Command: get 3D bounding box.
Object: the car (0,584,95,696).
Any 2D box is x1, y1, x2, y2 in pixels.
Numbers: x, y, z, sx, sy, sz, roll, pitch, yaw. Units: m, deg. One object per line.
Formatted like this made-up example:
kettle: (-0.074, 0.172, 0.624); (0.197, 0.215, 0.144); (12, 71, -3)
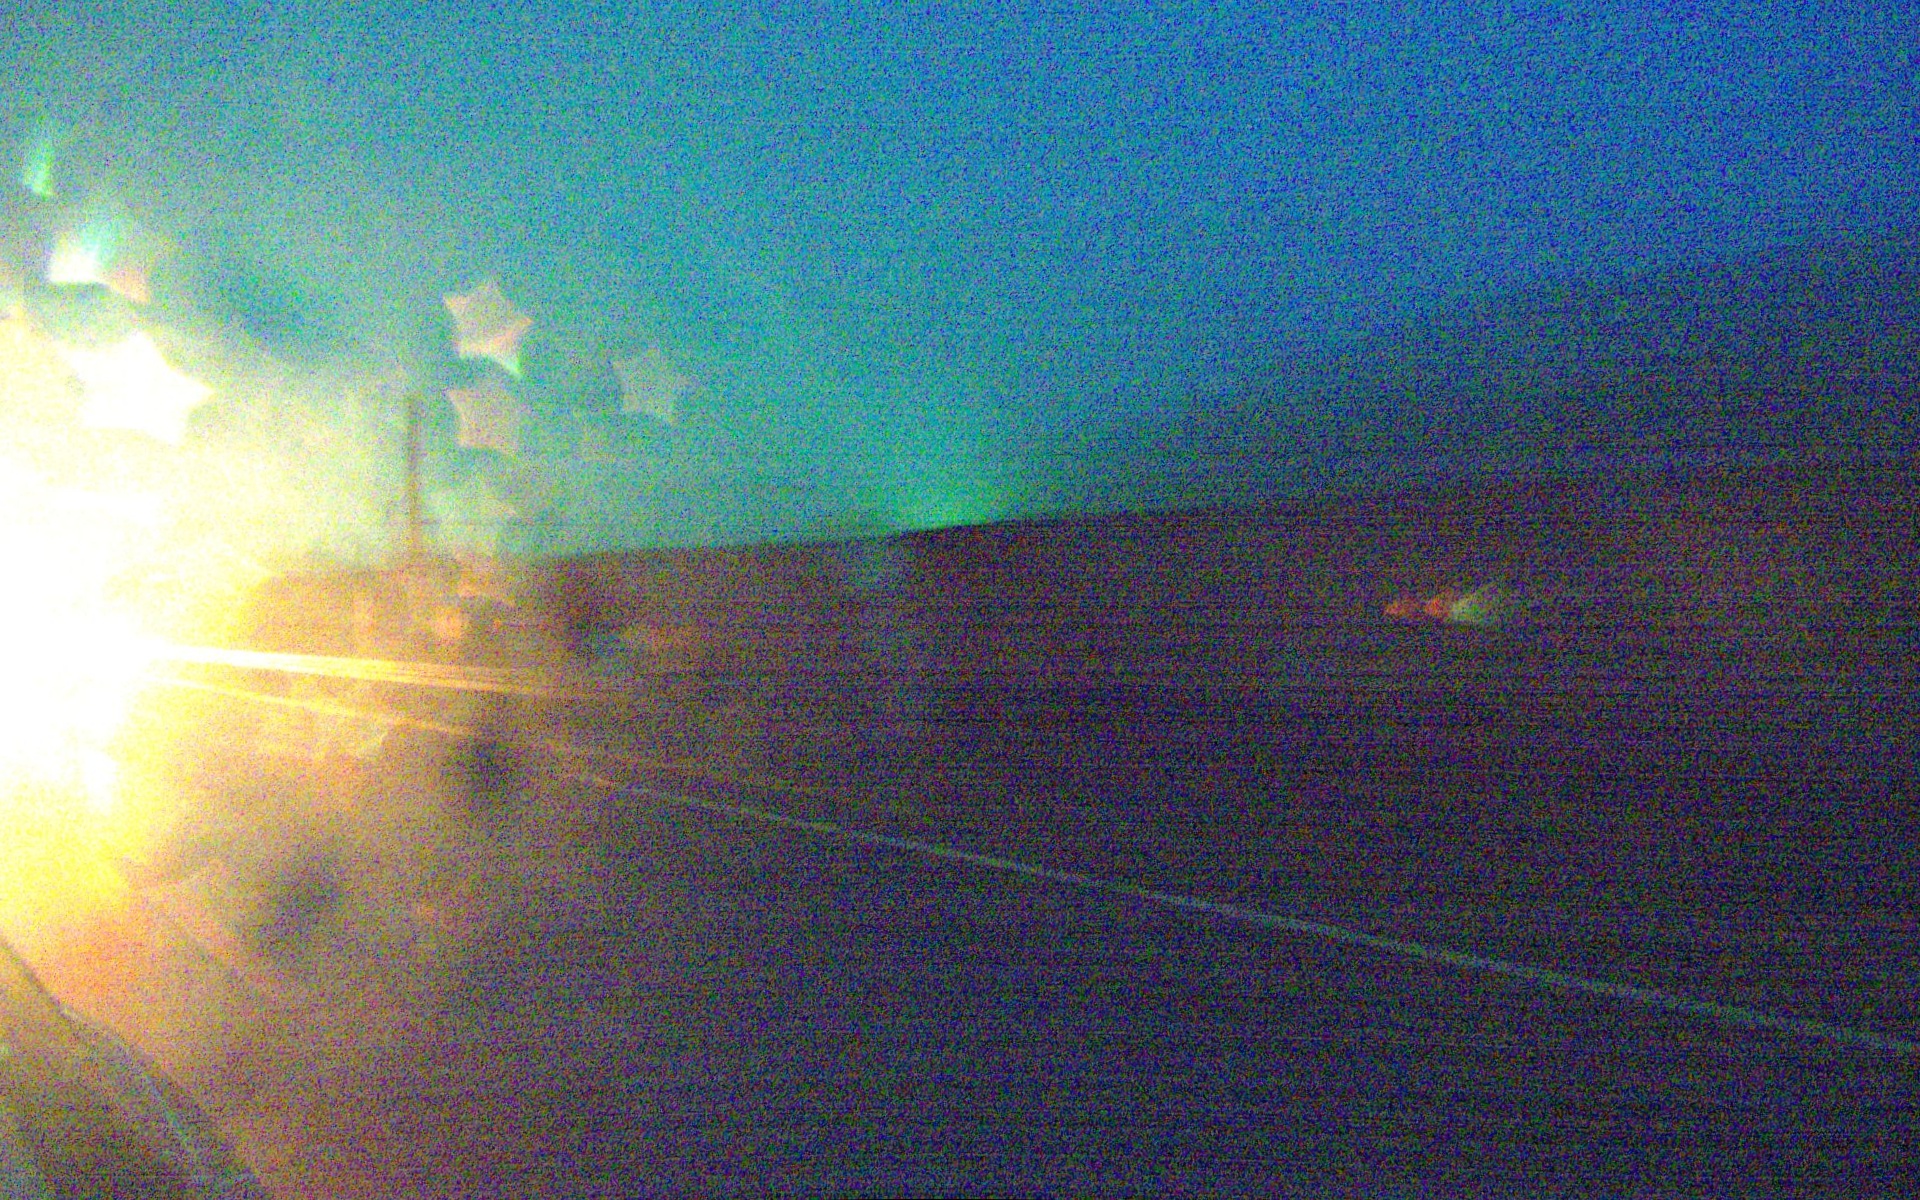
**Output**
car: (-21.364, 0.898, 22.945); (5.465, 2.290, 1.972); (-2, -1, 42)
